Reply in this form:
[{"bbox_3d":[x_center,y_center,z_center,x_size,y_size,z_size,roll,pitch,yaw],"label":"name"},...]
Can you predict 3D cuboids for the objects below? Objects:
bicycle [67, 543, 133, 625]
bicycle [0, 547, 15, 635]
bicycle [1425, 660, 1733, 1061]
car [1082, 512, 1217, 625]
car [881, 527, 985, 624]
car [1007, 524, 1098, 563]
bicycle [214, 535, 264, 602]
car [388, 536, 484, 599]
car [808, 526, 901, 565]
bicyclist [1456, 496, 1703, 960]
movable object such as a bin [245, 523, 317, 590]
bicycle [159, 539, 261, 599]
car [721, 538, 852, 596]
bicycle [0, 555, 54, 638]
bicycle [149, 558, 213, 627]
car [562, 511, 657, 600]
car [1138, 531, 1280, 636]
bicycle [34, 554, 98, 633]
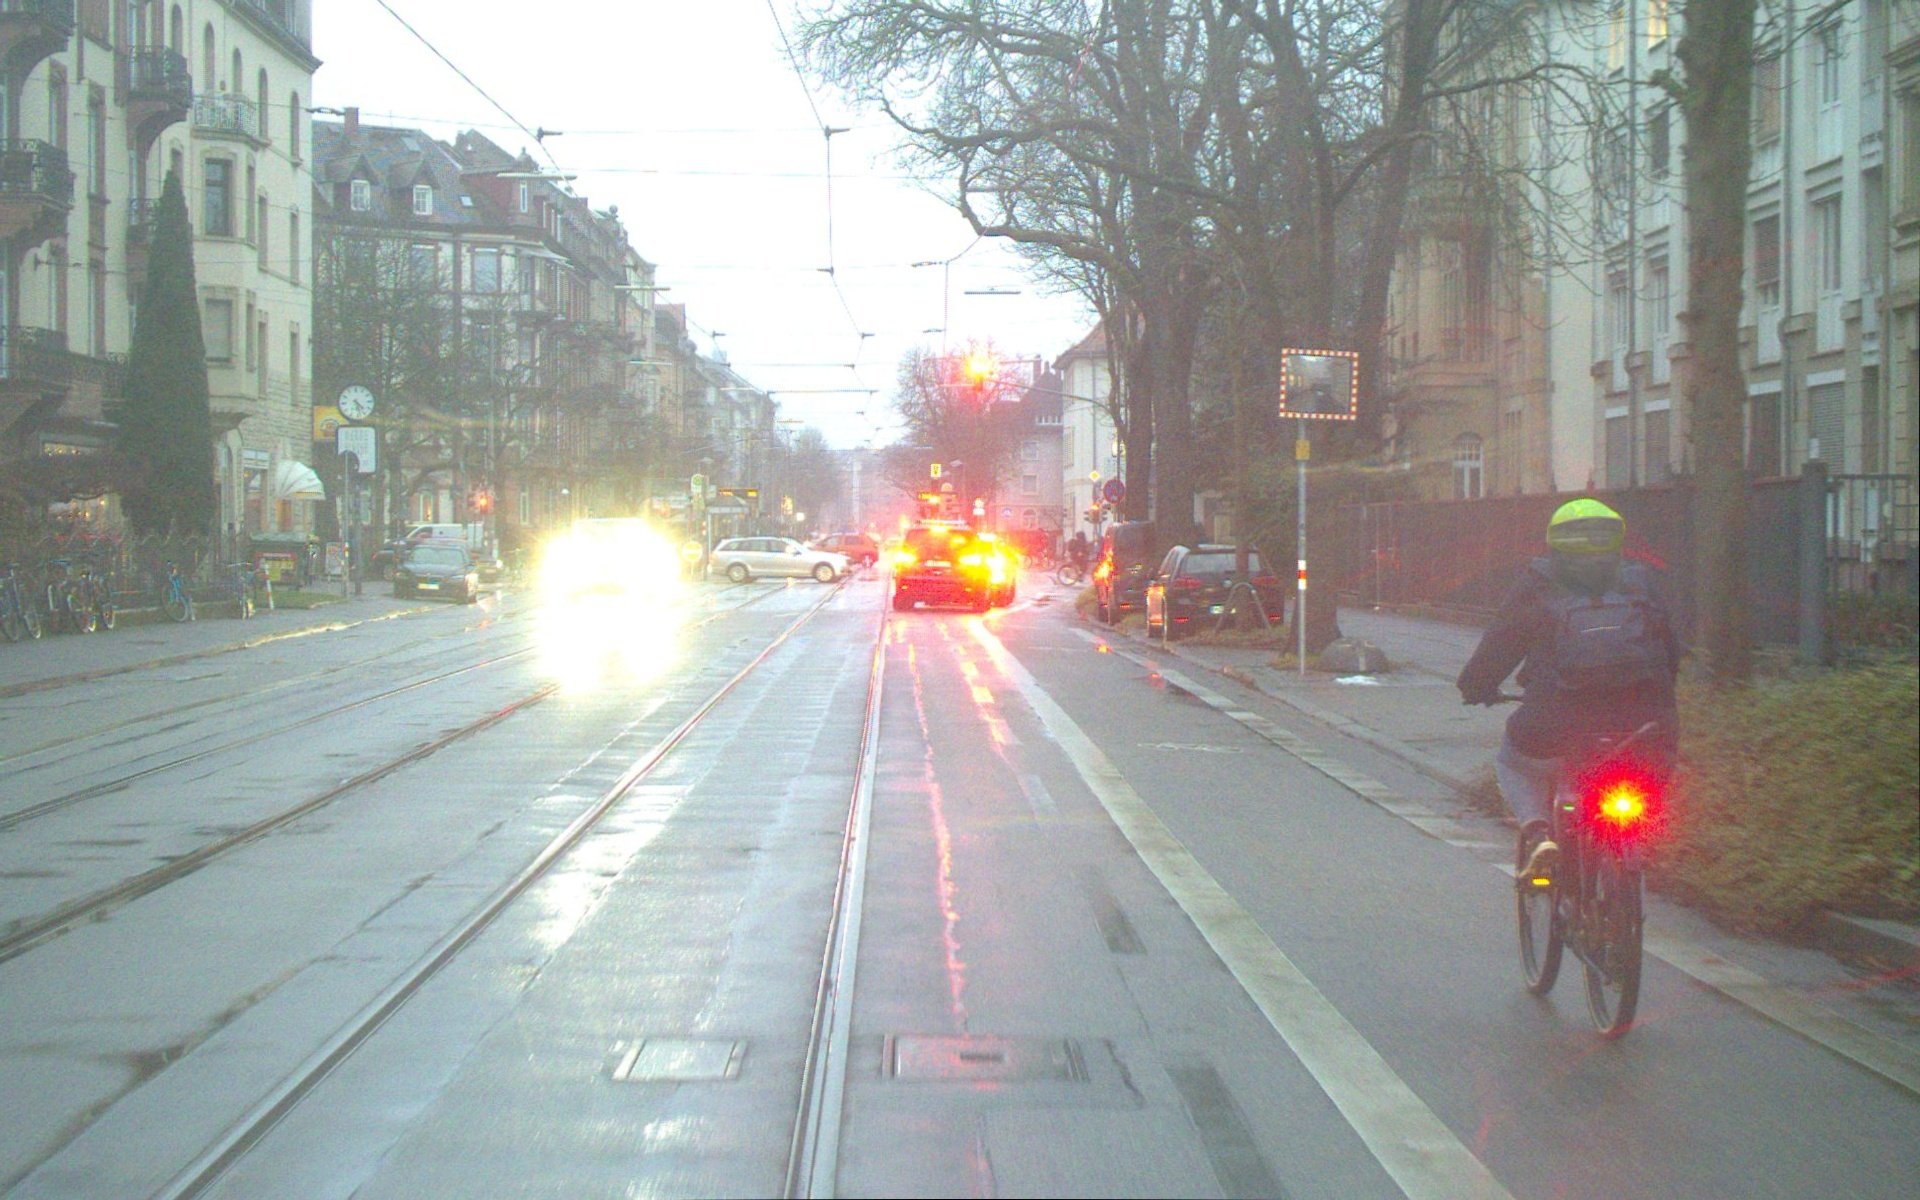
[{"bbox_3d":[-12.038,-0.231,48.156,0.486,1.096,1.931,-1,1,-2],"label":"bicycle"},{"bbox_3d":[-11.938,-0.109,41.615,0.692,1.027,1.596,-1,-2,-6],"label":"bicycle"},{"bbox_3d":[1.995,0.802,11.331,0.707,1.093,2.029,-1,2,2],"label":"bicycle"},{"bbox_3d":[3.407,-0.615,62.598,1.993,1.894,5.028,-1,2,-2],"label":"car"},{"bbox_3d":[-0.587,-0.494,70.364,1.993,1.890,4.759,1,0,-2],"label":"car"},{"bbox_3d":[4.233,-2.584,157.350,3.988,1.711,1.903,0,2,7],"label":"car"},{"bbox_3d":[-12.192,-0.537,58.193,0.614,1.077,1.811,-1,2,-6],"label":"bicycle"},{"bbox_3d":[-13.011,-0.824,85.568,1.833,1.442,4.001,-1,2,-1],"label":"car"},{"bbox_3d":[-4.844,-2.499,157.779,3.988,1.711,1.903,0,2,7],"label":"car"},{"bbox_3d":[2.001,0.390,11.179,0.656,1.441,0.849,-1,2,1],"label":"bicyclist"},{"bbox_3d":[-15.781,-1.017,79.926,1.409,1.525,1.365,-1,2,-1],"label":"movable object such as a bin"},{"bbox_3d":[-14.039,-0.586,64.370,1.804,1.077,0.616,-1,2,-7],"label":"bicycle"},{"bbox_3d":[-5.446,-1.043,107.965,3.987,1.722,1.740,-1,2,1],"label":"car"},{"bbox_3d":[-11.908,-0.044,43.545,0.692,1.027,1.597,-1,0,-10],"label":"bicycle"},{"bbox_3d":[-12.056,-0.126,53.217,0.625,1.014,1.806,-1,2,-2],"label":"bicycle"},{"bbox_3d":[-7.992,-1.051,78.815,2.045,1.915,5.101,-1,2,-5],"label":"car"},{"bbox_3d":[3.655,-0.282,51.094,1.677,1.455,4.043,-1,2,-2],"label":"car"},{"bbox_3d":[-11.953,-0.095,46.017,0.692,1.027,1.597,-1,1,-10],"label":"bicycle"}]
